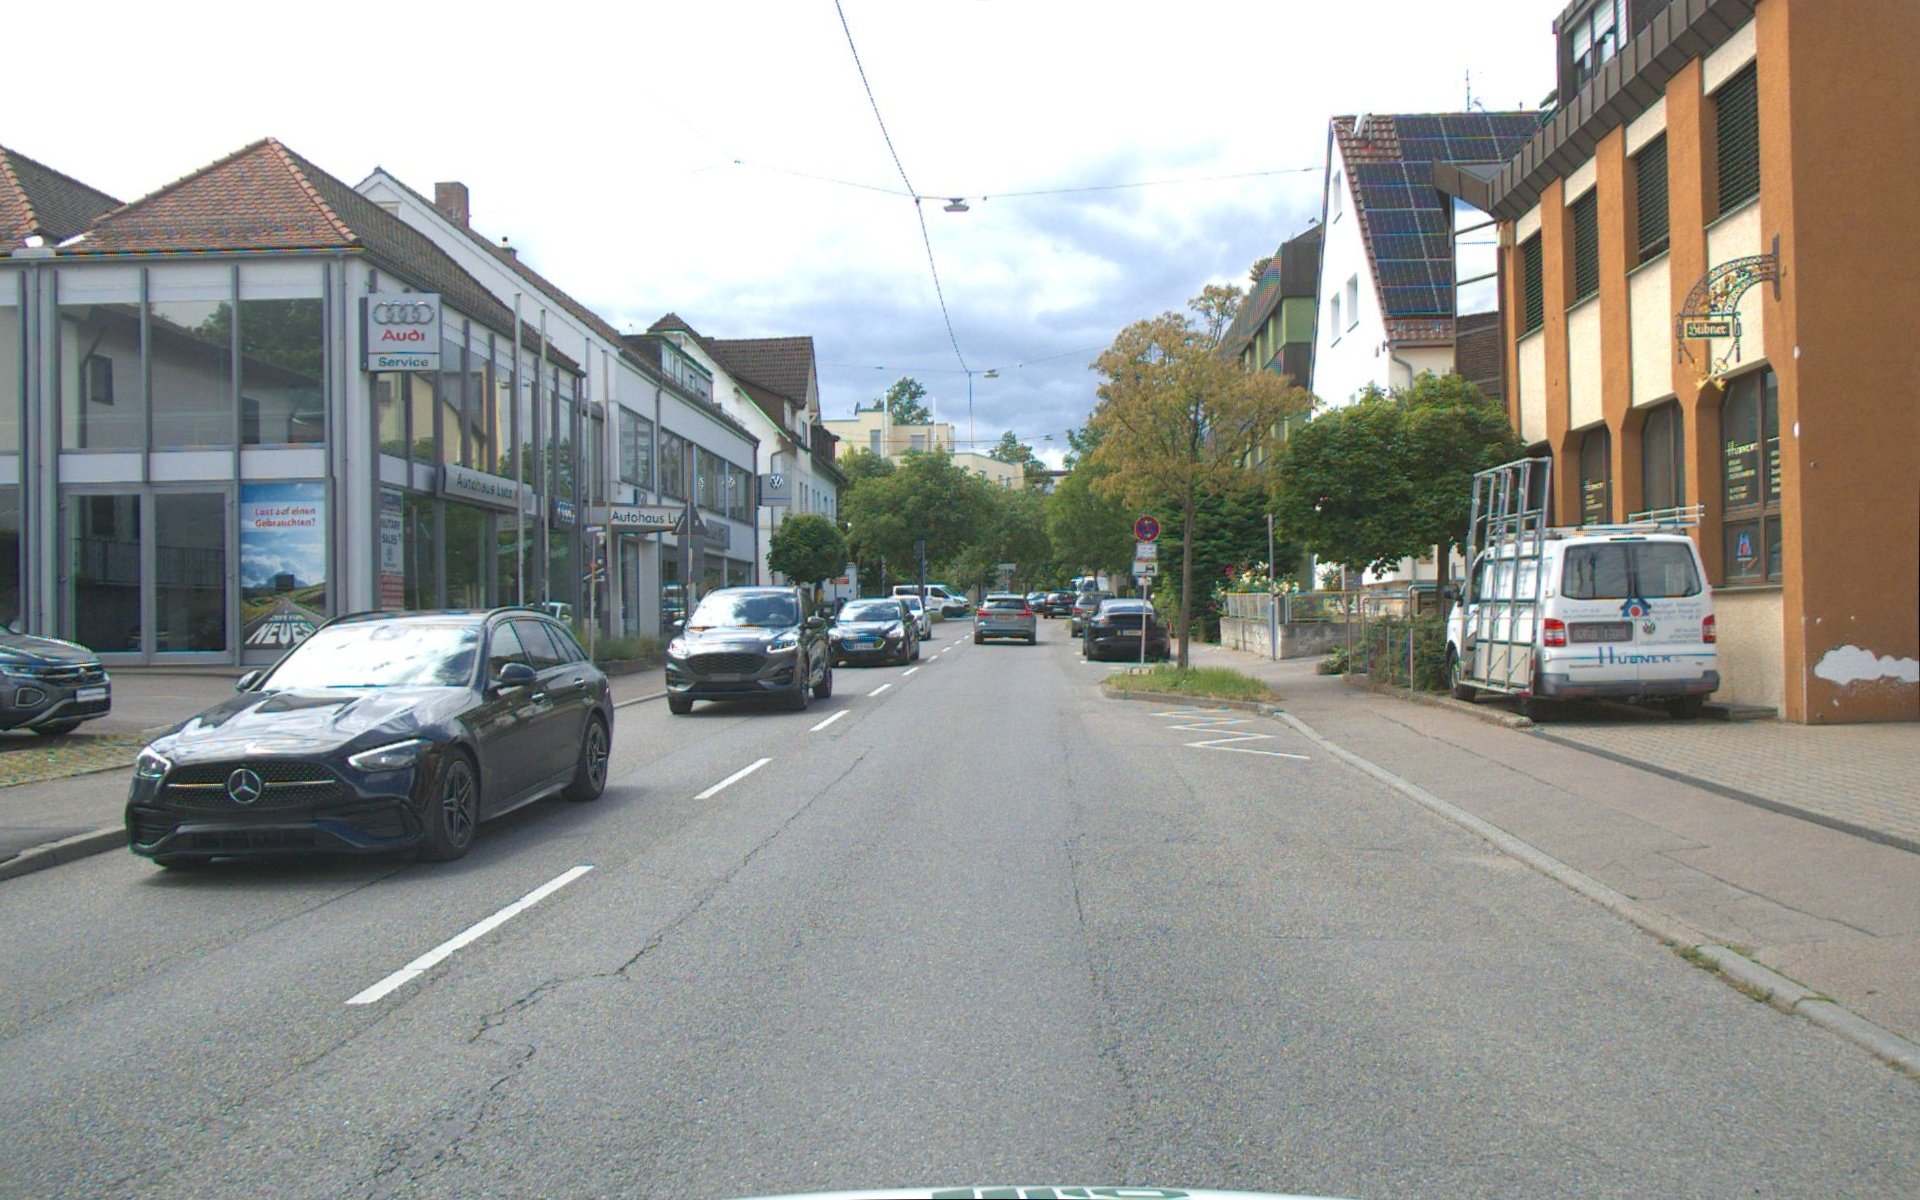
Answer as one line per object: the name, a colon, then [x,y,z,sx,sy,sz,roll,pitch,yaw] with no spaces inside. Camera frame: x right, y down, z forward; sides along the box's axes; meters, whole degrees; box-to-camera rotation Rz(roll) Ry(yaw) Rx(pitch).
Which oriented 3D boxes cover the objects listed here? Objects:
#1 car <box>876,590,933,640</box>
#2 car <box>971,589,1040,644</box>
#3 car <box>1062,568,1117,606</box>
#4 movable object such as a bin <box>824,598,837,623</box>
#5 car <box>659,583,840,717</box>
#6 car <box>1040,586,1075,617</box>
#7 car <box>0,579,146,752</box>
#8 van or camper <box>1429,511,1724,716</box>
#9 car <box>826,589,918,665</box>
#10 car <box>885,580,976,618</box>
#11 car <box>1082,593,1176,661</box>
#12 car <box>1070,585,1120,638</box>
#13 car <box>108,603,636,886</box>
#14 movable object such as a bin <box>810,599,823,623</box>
car: [-1.858,0.517,56.154,1.655,1.607,3.800,-1,-1,2]
car: [1.417,0.522,49.965,1.915,1.550,4.330,-1,-1,3]
car: [8.985,-0.905,114.619,2.022,2.394,5.180,-4,0,25]
movable object such as a bin: [-5.998,0.487,76.810,0.553,1.120,0.563,1,-1,-2]
car: [-2.820,0.611,23.098,1.793,1.658,4.322,-1,0,2]
car: [5.059,0.098,86.206,1.581,1.550,3.569,-1,-1,0]
car: [-10.747,0.603,16.978,3.930,1.659,1.654,1,0,1]
van or camper: [6.892,0.162,19.050,1.828,2.067,4.548,0,-1,2]
car: [-1.903,0.587,36.855,1.793,1.550,4.170,-1,-1,0]
car: [-1.817,-0.071,102.128,5.104,2.028,2.109,-3,0,19]
car: [3.949,0.627,39.260,1.943,1.473,4.753,-1,-1,3]
car: [4.770,0.369,58.526,1.654,1.695,4.465,-1,1,5]
car: [-3.623,0.787,11.189,1.704,1.454,4.526,-2,0,3]
movable object such as a bin: [-6.678,0.502,76.836,0.553,1.120,0.563,1,-1,-2]
